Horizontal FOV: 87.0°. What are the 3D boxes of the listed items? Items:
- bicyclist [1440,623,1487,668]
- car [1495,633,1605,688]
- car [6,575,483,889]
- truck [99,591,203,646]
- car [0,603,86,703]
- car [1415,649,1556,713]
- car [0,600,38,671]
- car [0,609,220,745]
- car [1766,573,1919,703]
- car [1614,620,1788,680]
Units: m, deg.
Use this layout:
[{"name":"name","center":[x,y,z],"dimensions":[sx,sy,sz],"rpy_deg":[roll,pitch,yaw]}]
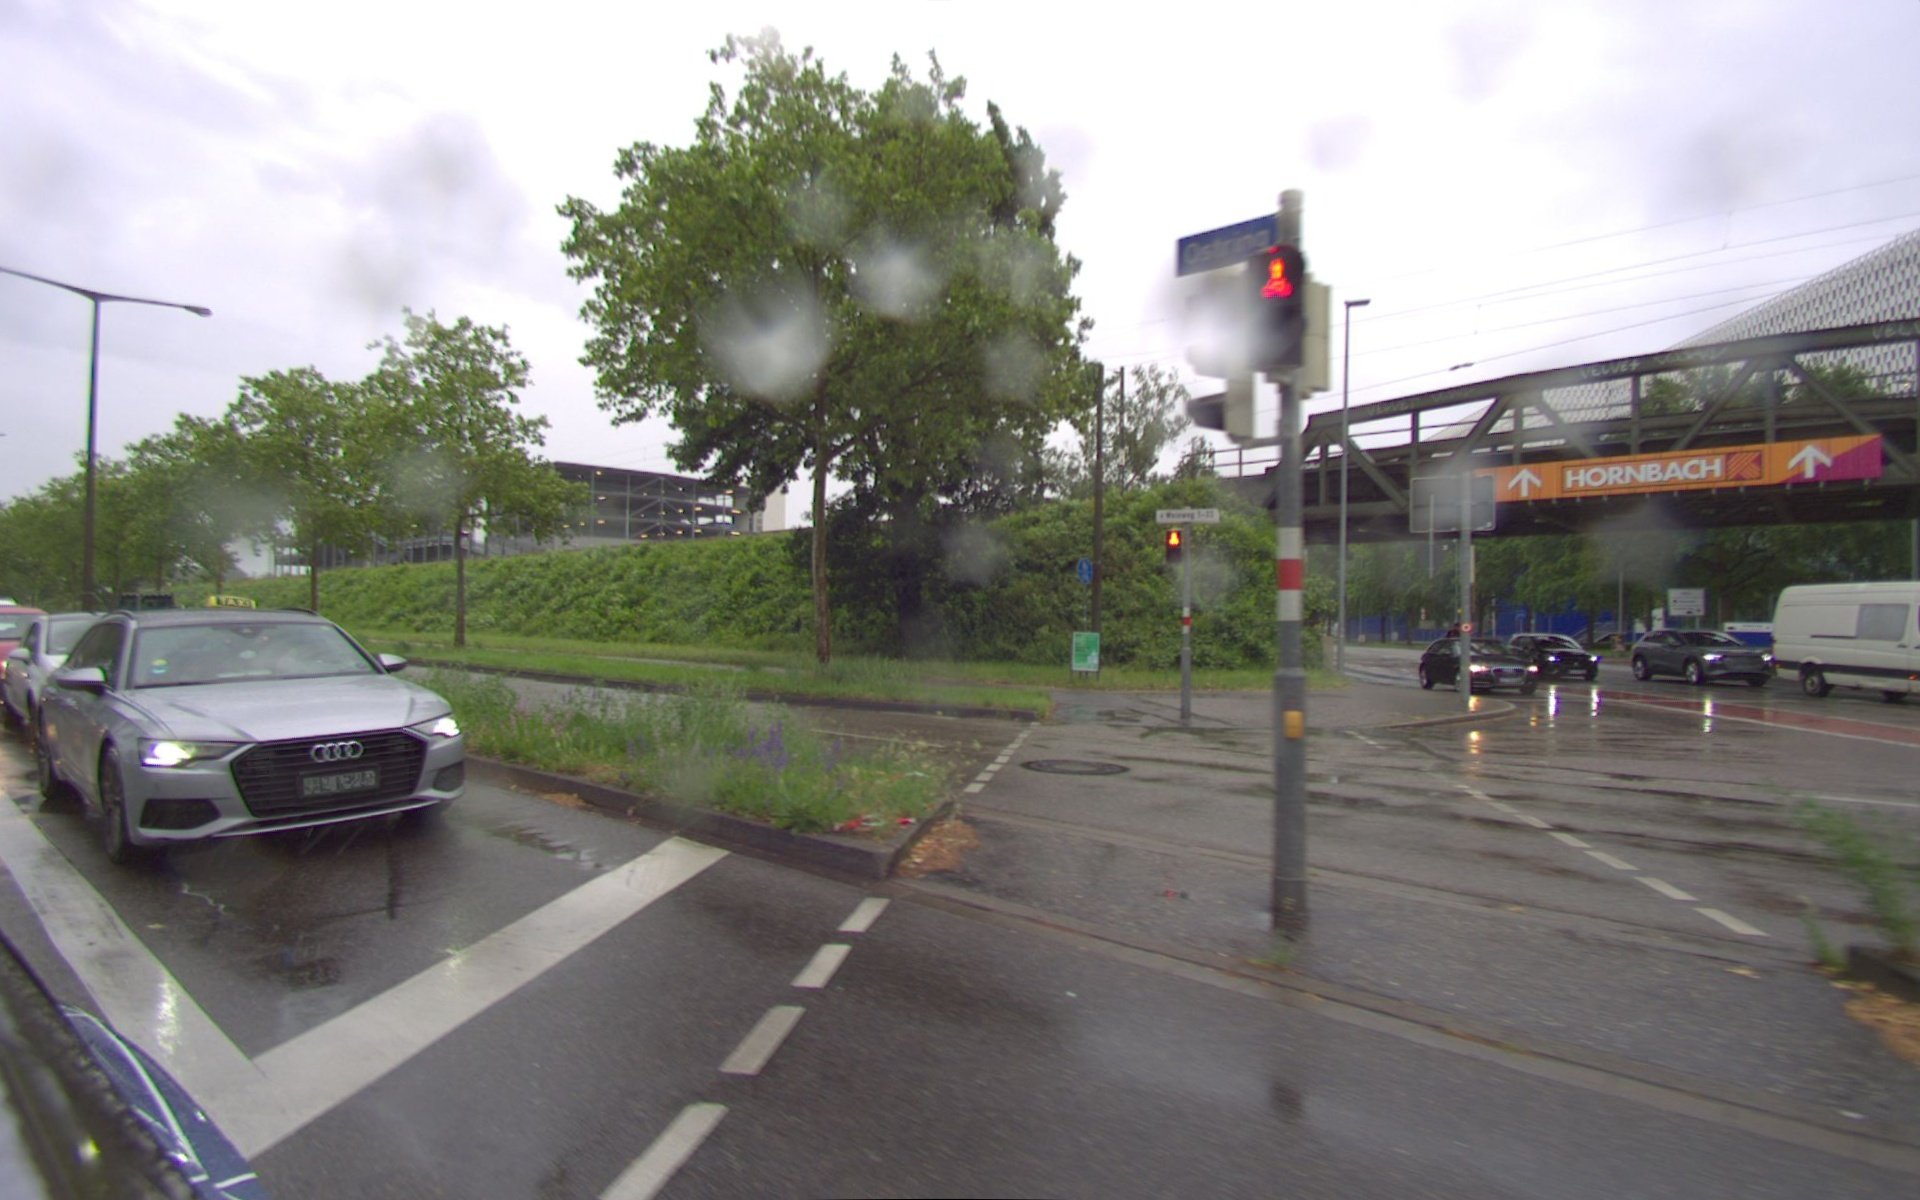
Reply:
[{"name":"bicyclist","center":[17.239,1.558,34.707],"dimensions":[1.138,1.495,1.055],"rpy_deg":[1,-2,7]},{"name":"car","center":[19.103,1.921,32.968],"dimensions":[1.635,1.612,3.902],"rpy_deg":[1,-2,6]},{"name":"car","center":[-5.420,0.679,7.356],"dimensions":[4.818,1.586,1.751],"rpy_deg":[-1,0,41]},{"name":"truck","center":[-37.445,0.856,46.767],"dimensions":[6.863,2.383,2.449],"rpy_deg":[0,-2,41]},{"name":"car","center":[-15.718,0.812,16.515],"dimensions":[4.091,1.476,1.701],"rpy_deg":[-1,0,42]},{"name":"car","center":[13.480,2.031,26.235],"dimensions":[1.671,1.445,4.142],"rpy_deg":[0,-2,4]},{"name":"car","center":[-23.815,0.835,24.454],"dimensions":[4.145,1.624,1.808],"rpy_deg":[-1,0,41]},{"name":"car","center":[-10.721,0.832,12.511],"dimensions":[4.008,1.387,1.661],"rpy_deg":[-1,0,40]},{"name":"car","center":[20.720,0.805,21.400],"dimensions":[2.358,2.631,6.964],"rpy_deg":[1,-2,6]},{"name":"car","center":[21.791,1.423,30.060],"dimensions":[1.859,1.612,4.944],"rpy_deg":[1,-2,5]}]
